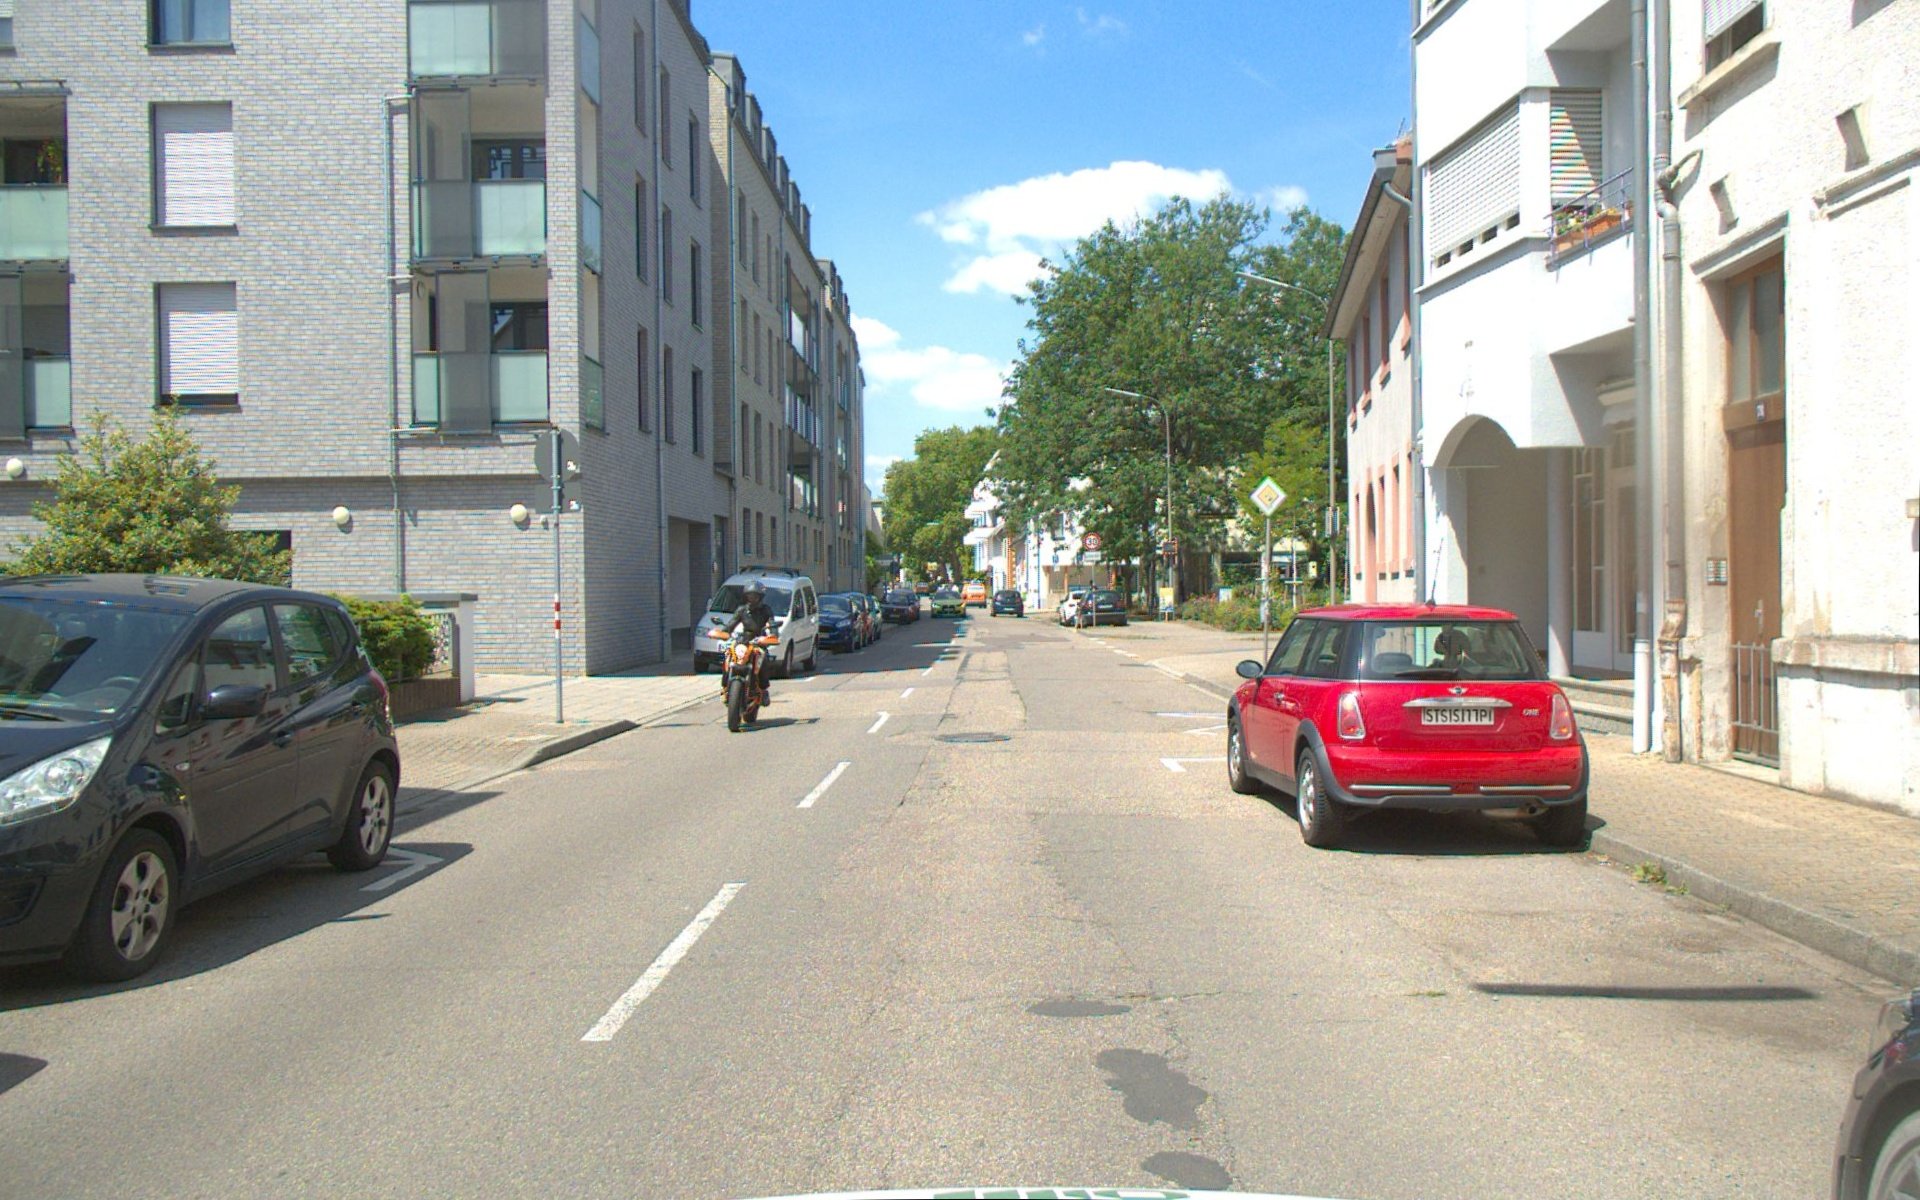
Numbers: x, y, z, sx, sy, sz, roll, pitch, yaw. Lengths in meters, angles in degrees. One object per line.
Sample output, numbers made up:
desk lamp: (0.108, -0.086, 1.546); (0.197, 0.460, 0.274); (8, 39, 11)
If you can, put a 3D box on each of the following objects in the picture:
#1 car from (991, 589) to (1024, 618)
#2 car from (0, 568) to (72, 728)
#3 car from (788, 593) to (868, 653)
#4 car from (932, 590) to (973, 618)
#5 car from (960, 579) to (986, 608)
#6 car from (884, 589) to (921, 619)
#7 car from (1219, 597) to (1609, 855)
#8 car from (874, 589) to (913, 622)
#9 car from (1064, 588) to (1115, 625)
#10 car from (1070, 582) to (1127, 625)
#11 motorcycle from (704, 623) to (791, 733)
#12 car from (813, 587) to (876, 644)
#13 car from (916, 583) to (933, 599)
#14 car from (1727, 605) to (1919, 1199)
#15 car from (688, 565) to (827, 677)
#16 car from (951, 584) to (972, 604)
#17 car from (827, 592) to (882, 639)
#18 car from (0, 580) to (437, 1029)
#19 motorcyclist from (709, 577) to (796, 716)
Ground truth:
car: (2.548, 0.161, 89.614); (1.680, 1.426, 4.001); (-1, 1, 1)
car: (-10.750, 0.436, 17.363); (1.626, 1.566, 3.506); (0, 1, -44)
car: (-3.446, 0.571, 43.809); (1.687, 1.481, 4.006); (0, 0, 2)
car: (-0.360, 0.216, 88.565); (1.952, 1.405, 4.394); (1, 1, 2)
car: (0.965, -0.519, 121.638); (1.801, 2.048, 4.001); (-1, 1, 1)
car: (-2.909, 0.172, 83.963); (1.697, 1.467, 4.000); (-1, 0, 0)
car: (2.853, 0.708, 11.138); (1.586, 1.409, 3.538); (-1, 1, -1)
car: (-3.138, 0.250, 78.724); (1.697, 1.467, 4.000); (-1, 0, 0)
car: (5.297, 0.245, 68.003); (1.742, 1.445, 4.000); (-1, 0, 0)
car: (5.124, 0.123, 61.580); (1.658, 1.444, 4.000); (-4, 0, 0)
motorcycle: (-2.434, 0.868, 19.159); (0.673, 1.142, 2.028); (-1, 0, 2)
car: (-3.353, 0.426, 48.506); (1.558, 1.581, 3.571); (-1, 0, 0)
car: (-4.892, -1.248, 228.900); (2.112, 2.049, 4.001); (-1, 1, 1)
car: (2.544, 0.741, 1.301); (1.694, 1.445, 4.544); (-1, 0, -1)
car: (-3.722, 0.338, 31.136); (1.720, 1.925, 4.339); (1, 1, 4)
car: (0.131, -0.506, 142.613); (1.676, 1.662, 3.703); (-1, 0, -1)
car: (-3.416, 0.482, 54.085); (1.558, 1.481, 3.703); (1, 0, 0)
car: (-4.128, 0.748, 8.165); (1.757, 1.675, 3.946); (0, 0, 1)
motorcyclist: (-2.371, 0.515, 18.992); (0.805, 1.535, 1.057); (-1, 0, 2)
